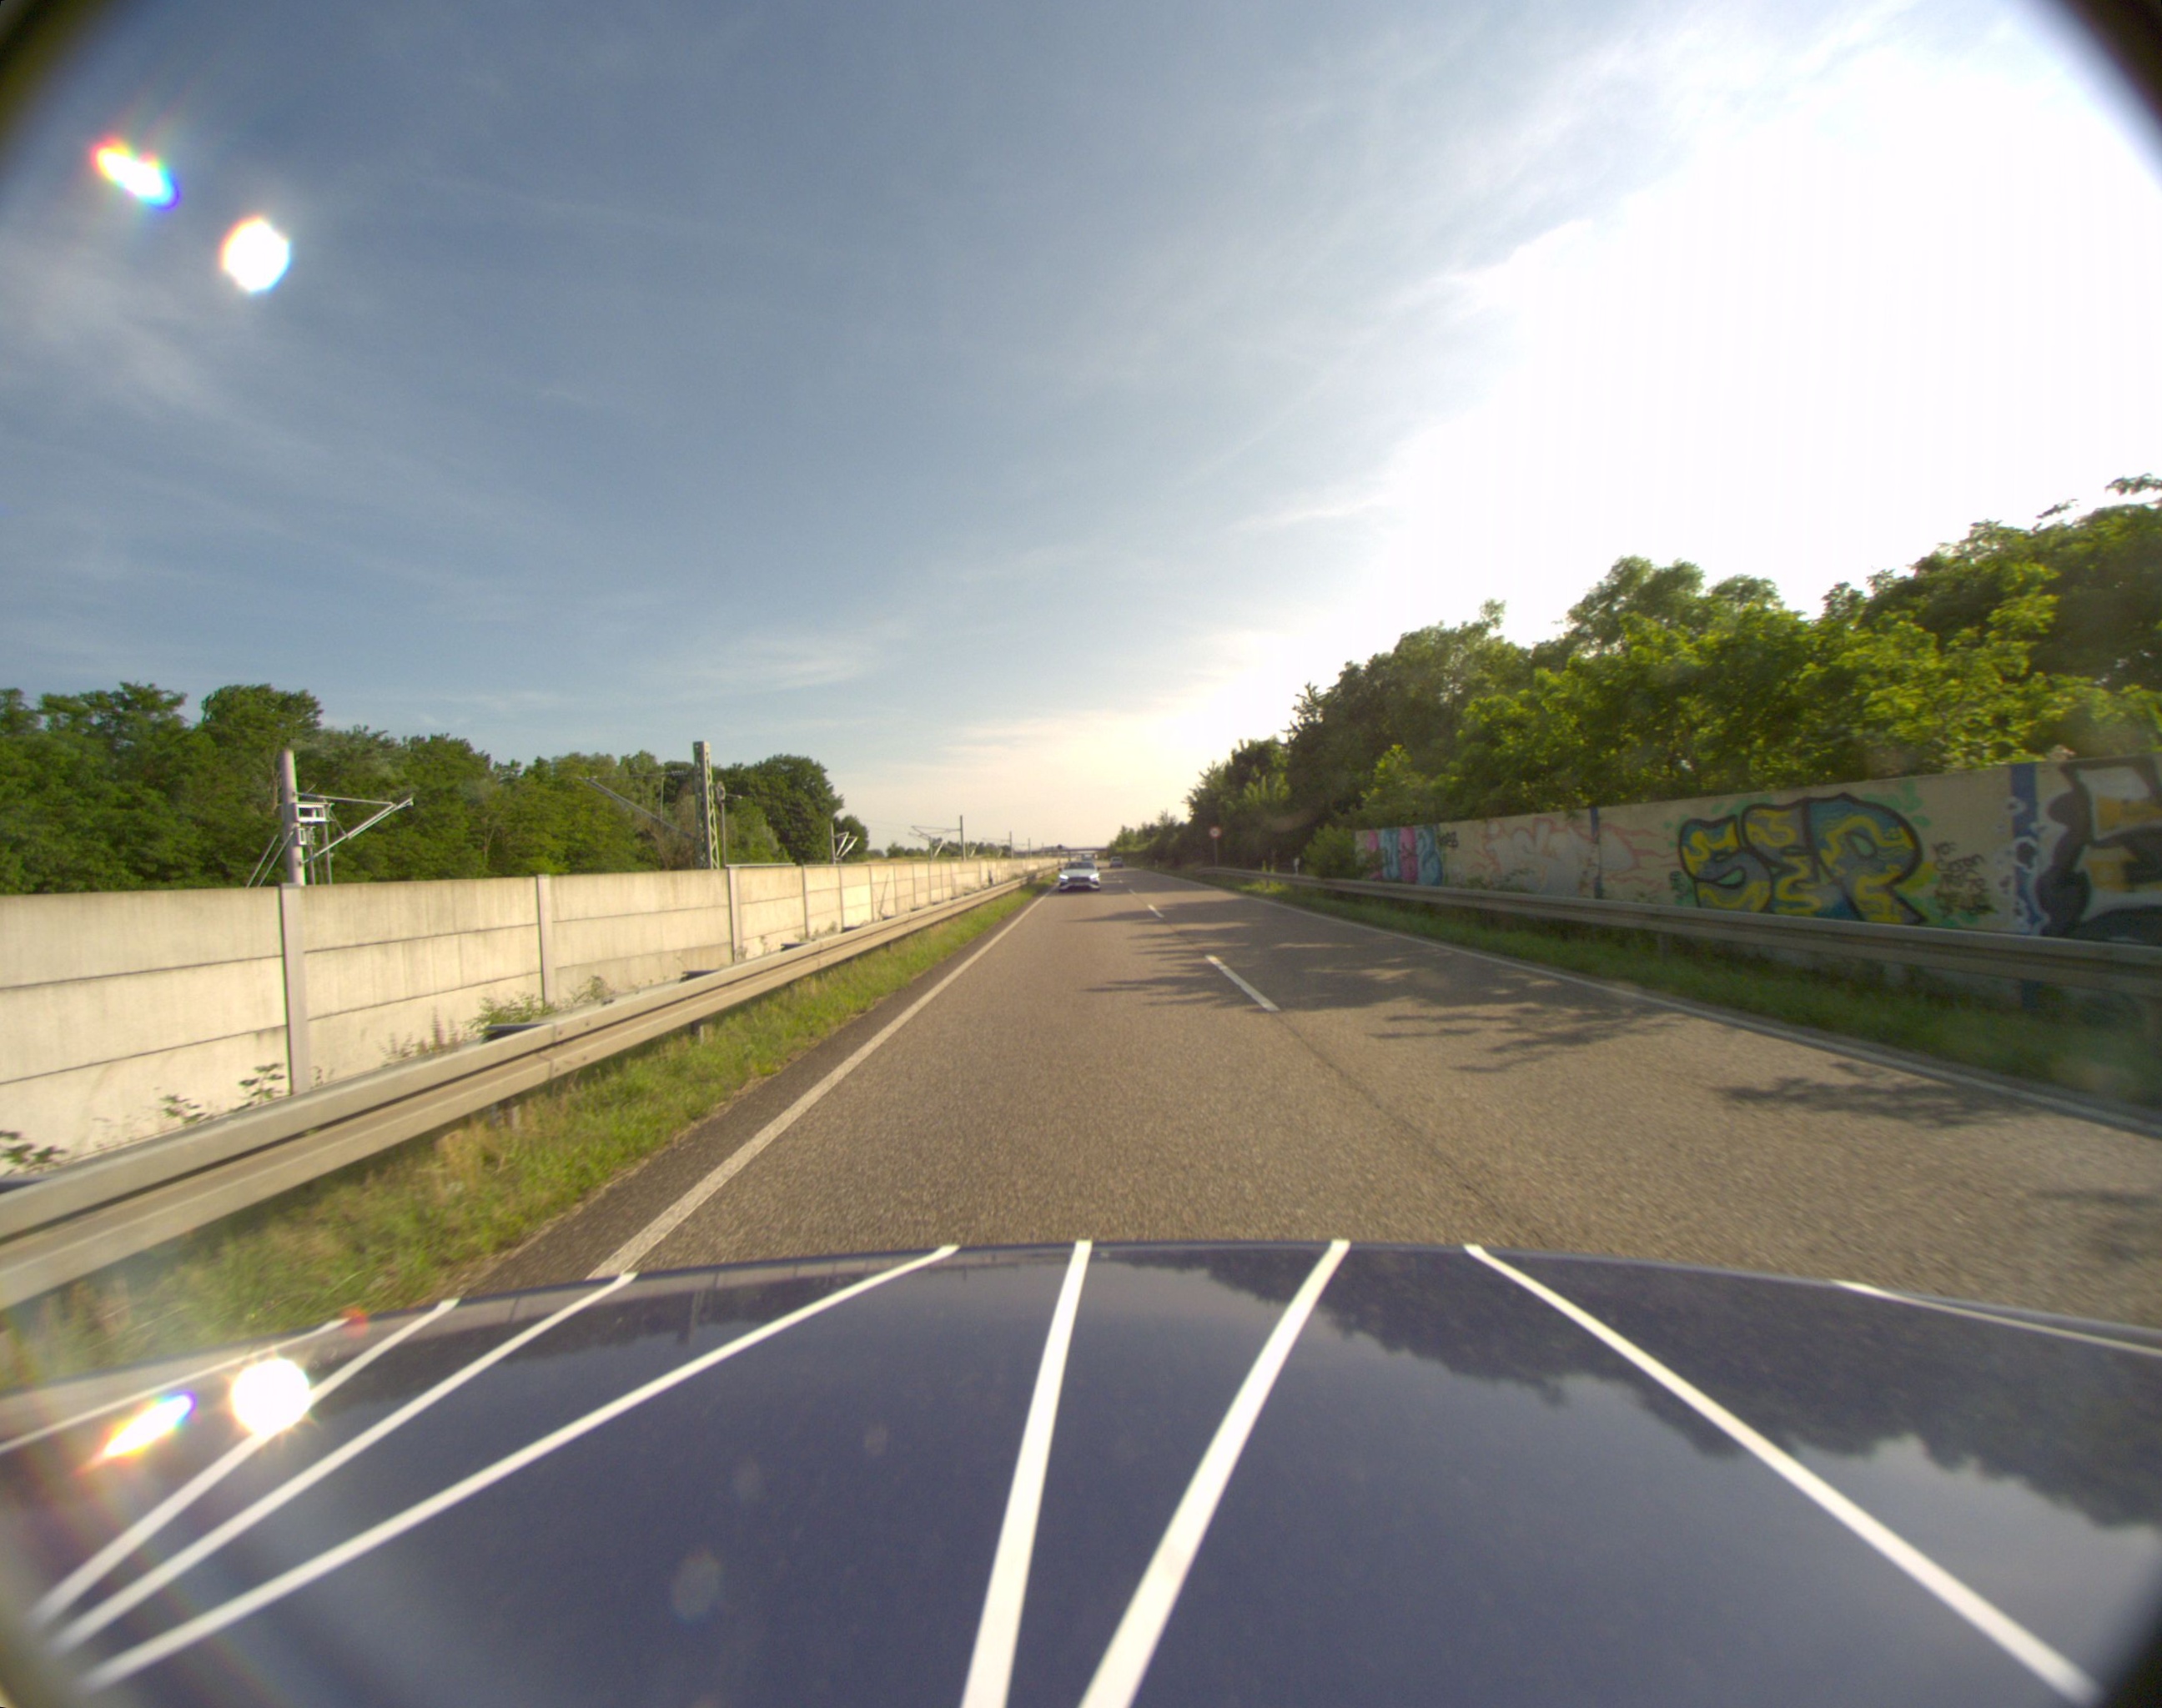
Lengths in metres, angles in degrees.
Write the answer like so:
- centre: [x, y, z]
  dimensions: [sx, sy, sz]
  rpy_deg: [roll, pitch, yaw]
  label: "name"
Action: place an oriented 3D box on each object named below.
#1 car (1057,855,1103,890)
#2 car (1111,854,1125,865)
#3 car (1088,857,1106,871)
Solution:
- centre: [-0.013, 0.833, 35.947]
  dimensions: [1.952, 1.430, 4.611]
  rpy_deg: [-3, 0, 1]
  label: "car"
- centre: [5.012, 0.749, 104.215]
  dimensions: [1.724, 1.386, 4.360]
  rpy_deg: [-3, 1, 1]
  label: "car"
- centre: [1.873, 1.150, 88.677]
  dimensions: [1.953, 1.430, 4.611]
  rpy_deg: [-4, 0, 1]
  label: "car"
